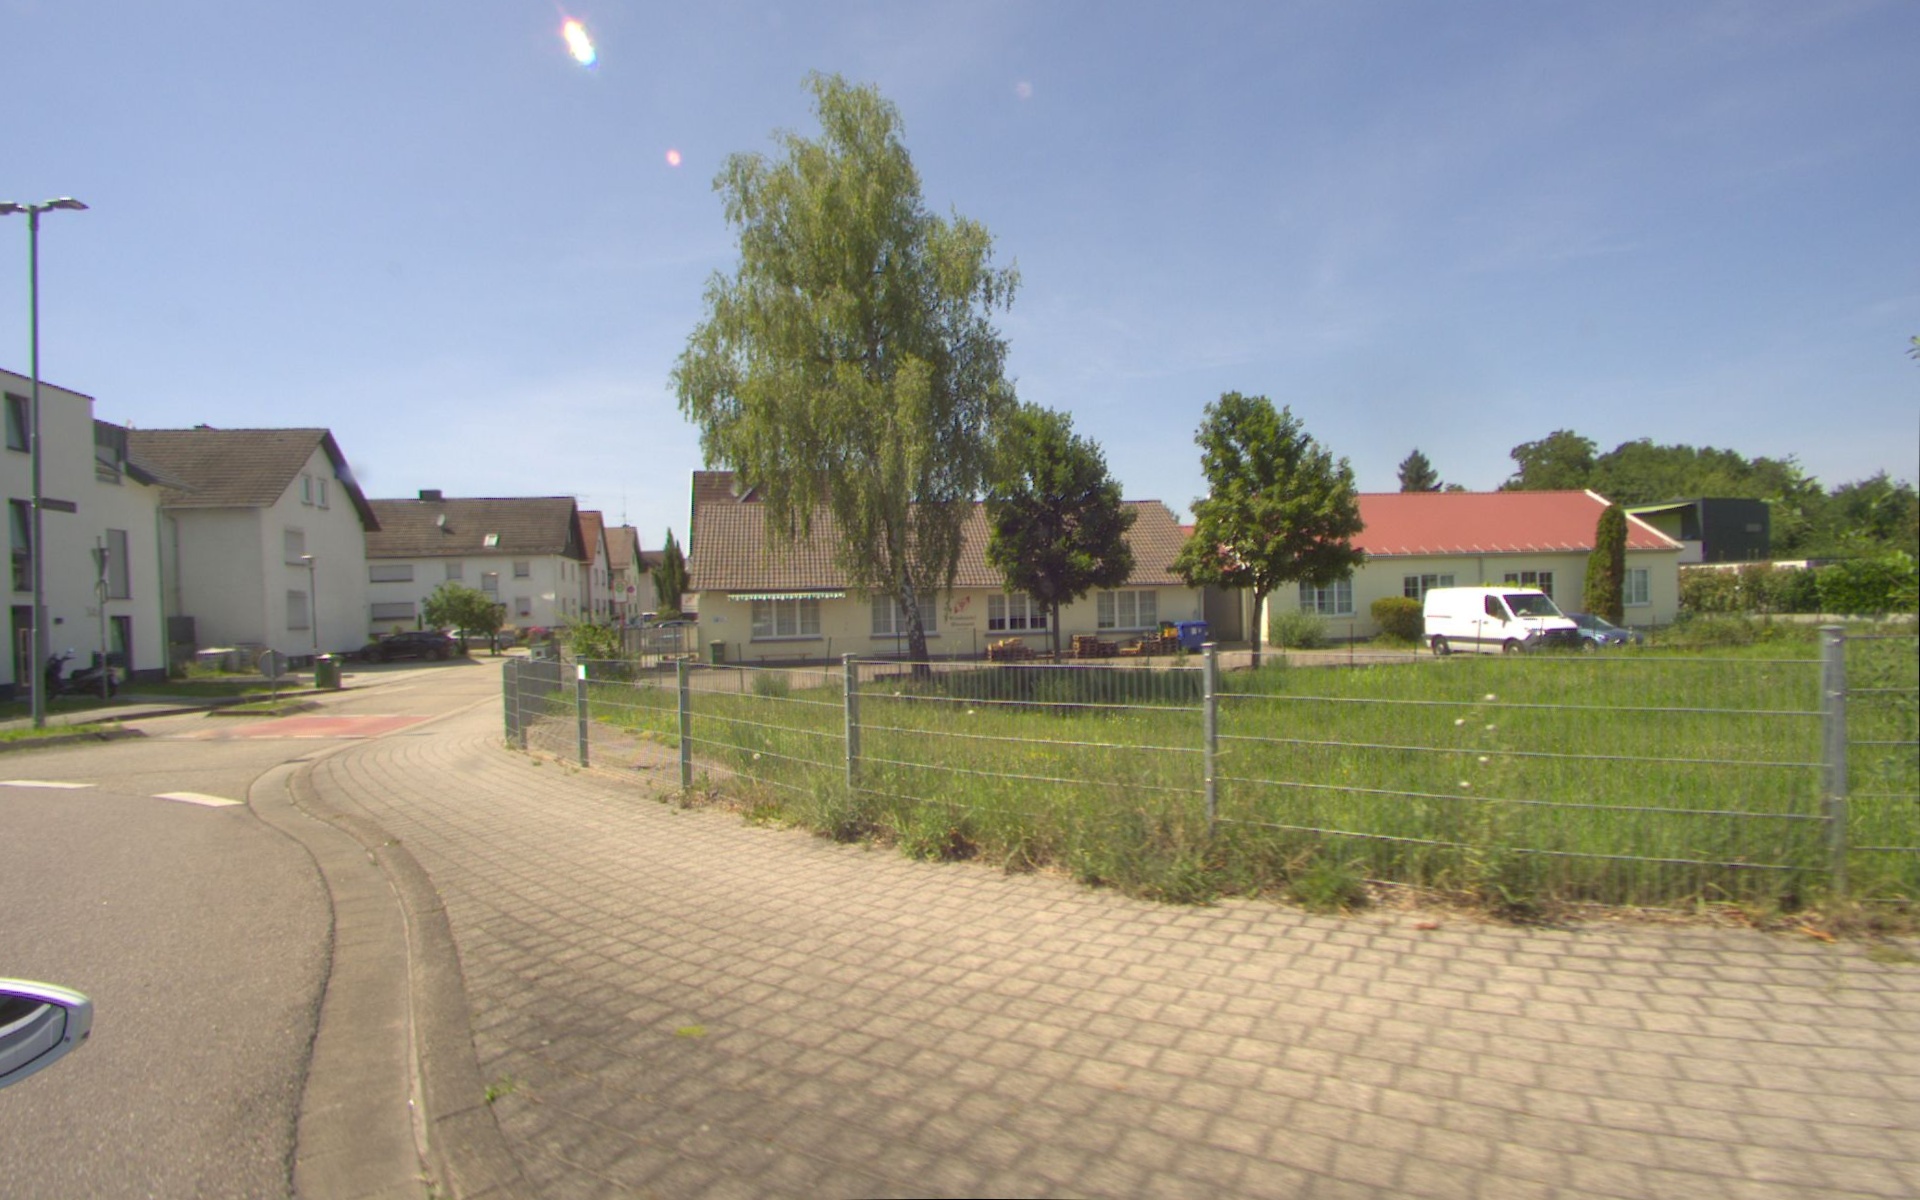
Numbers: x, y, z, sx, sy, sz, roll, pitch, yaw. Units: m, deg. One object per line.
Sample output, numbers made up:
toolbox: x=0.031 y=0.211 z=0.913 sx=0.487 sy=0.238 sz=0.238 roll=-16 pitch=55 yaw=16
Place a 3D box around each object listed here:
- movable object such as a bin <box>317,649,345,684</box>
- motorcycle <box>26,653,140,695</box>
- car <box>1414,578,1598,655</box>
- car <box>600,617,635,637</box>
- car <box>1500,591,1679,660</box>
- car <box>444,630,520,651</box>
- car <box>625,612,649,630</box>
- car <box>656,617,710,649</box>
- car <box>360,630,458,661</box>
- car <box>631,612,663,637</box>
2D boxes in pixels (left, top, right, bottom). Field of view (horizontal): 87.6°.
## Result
movable object such as a bin: x=-20.879 y=2.208 z=33.254 sx=0.634 sy=1.098 sz=0.459 roll=-1 pitch=0 yaw=-3
motorcycle: x=-23.462 y=1.975 z=26.810 sx=2.323 sy=1.026 sz=0.672 roll=-1 pitch=-2 yaw=-7
car: x=17.347 y=0.586 z=32.195 sx=2.175 sy=2.229 sz=5.180 roll=-2 pitch=-2 yaw=-15
car: x=-27.324 y=2.134 z=79.918 sx=1.962 sy=1.573 sz=3.998 roll=-1 pitch=-1 yaw=-9
car: x=20.586 y=0.887 z=33.063 sx=2.031 sy=2.039 sz=4.930 roll=-2 pitch=-2 yaw=-13
car: x=-29.753 y=2.511 z=62.446 sx=3.926 sy=1.206 sz=1.839 roll=-1 pitch=0 yaw=-13
car: x=-30.342 y=1.991 z=94.192 sx=1.896 sy=1.625 sz=3.995 roll=-1 pitch=-1 yaw=-16
car: x=-15.004 y=1.771 z=54.318 sx=2.701 sy=1.618 sz=1.171 roll=-2 pitch=-1 yaw=-10
car: x=-27.356 y=2.235 z=49.792 sx=3.926 sy=1.401 sz=1.659 roll=-1 pitch=-1 yaw=-13
car: x=-24.668 y=1.954 z=79.081 sx=1.822 sy=1.809 sz=3.999 roll=-2 pitch=-2 yaw=-10
